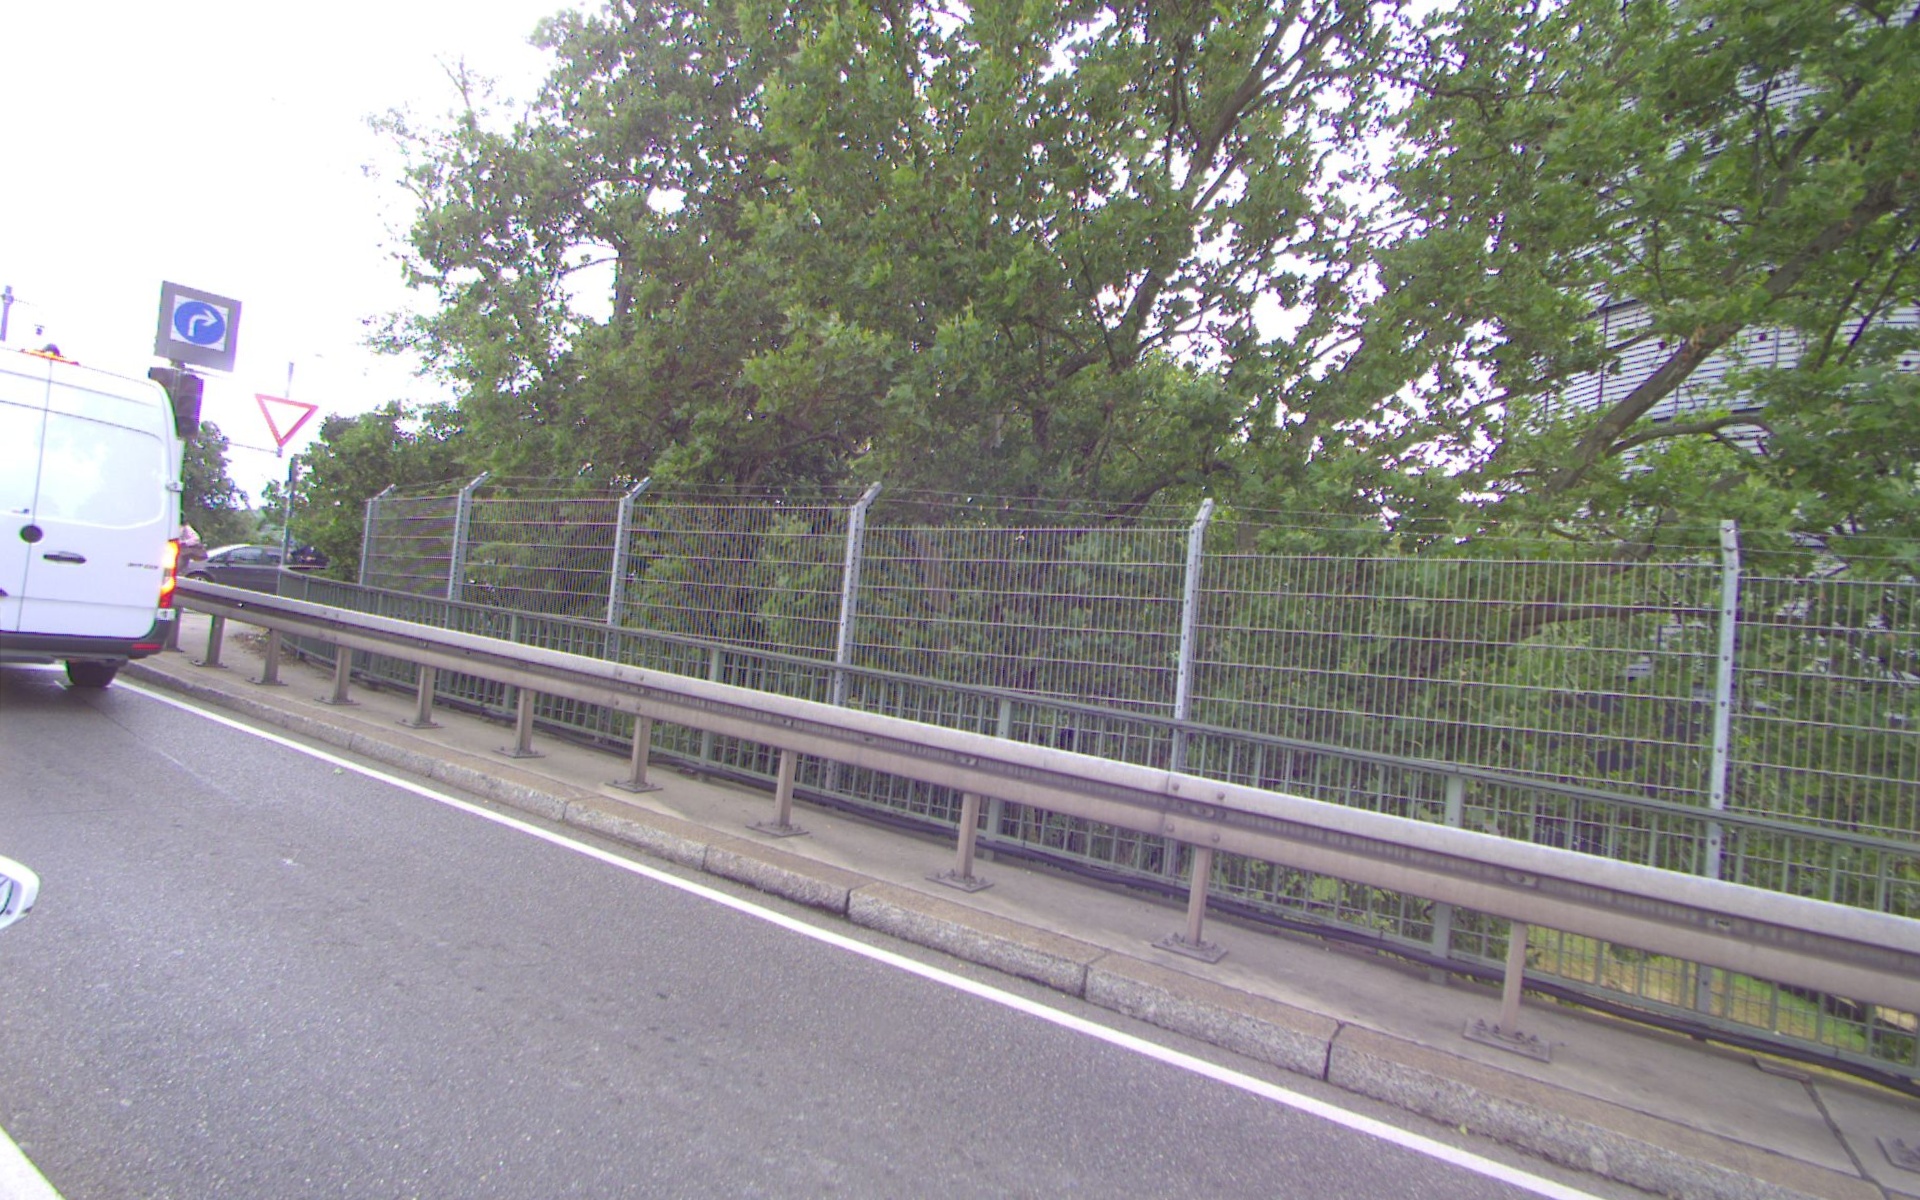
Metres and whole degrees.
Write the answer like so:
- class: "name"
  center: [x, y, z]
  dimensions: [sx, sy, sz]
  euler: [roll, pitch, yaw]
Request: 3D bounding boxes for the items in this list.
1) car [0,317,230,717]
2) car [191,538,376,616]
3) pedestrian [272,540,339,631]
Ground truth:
- class: "car"
  center: [-9.423, -0.891, 9.206]
  dimensions: [6.671, 2.817, 2.112]
  euler: [7, 0, 34]
- class: "car"
  center: [-19.725, -0.635, 29.484]
  dimensions: [1.784, 1.684, 3.991]
  euler: [7, -1, 34]
- class: "pedestrian"
  center: [-12.705, -0.281, 19.546]
  dimensions: [0.773, 1.639, 0.674]
  euler: [7, 0, -19]
